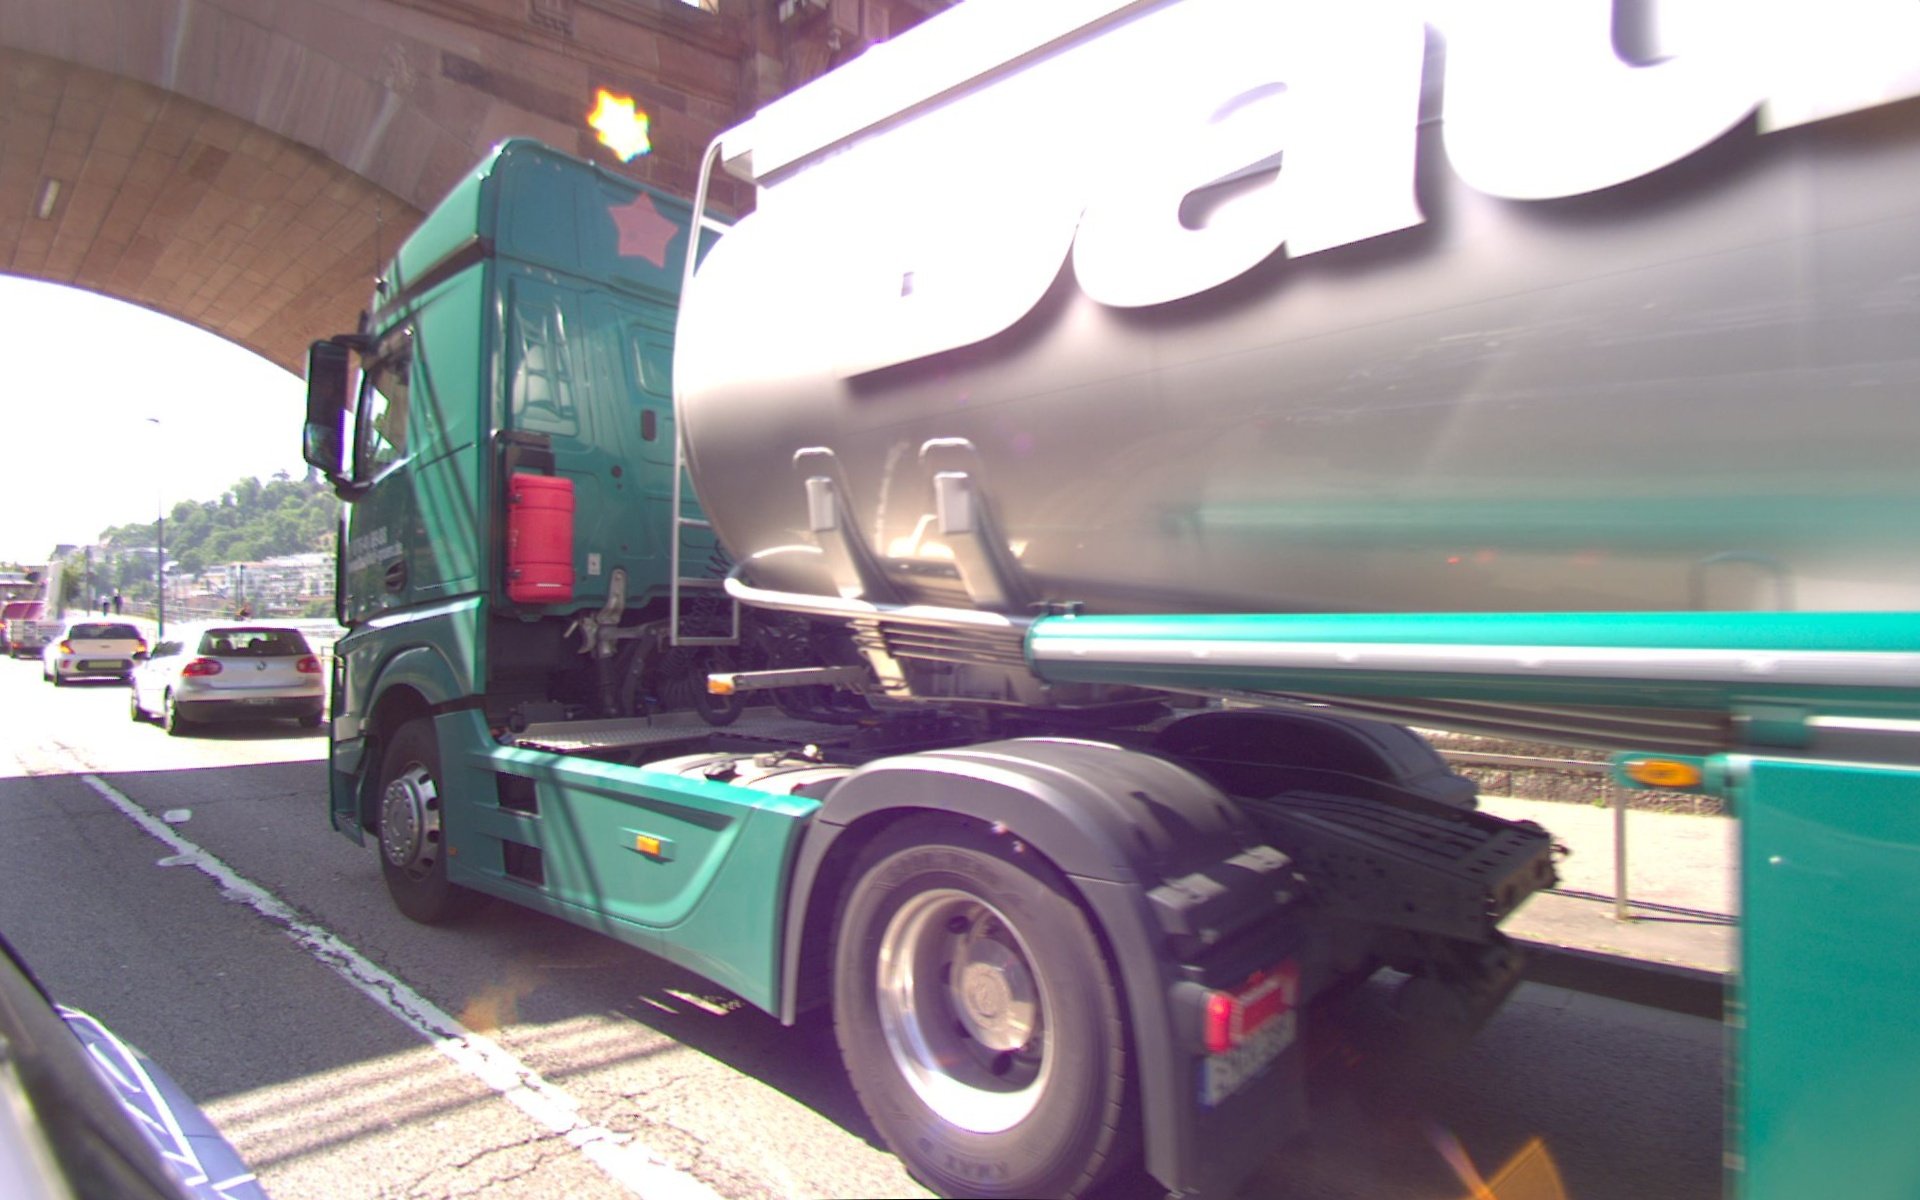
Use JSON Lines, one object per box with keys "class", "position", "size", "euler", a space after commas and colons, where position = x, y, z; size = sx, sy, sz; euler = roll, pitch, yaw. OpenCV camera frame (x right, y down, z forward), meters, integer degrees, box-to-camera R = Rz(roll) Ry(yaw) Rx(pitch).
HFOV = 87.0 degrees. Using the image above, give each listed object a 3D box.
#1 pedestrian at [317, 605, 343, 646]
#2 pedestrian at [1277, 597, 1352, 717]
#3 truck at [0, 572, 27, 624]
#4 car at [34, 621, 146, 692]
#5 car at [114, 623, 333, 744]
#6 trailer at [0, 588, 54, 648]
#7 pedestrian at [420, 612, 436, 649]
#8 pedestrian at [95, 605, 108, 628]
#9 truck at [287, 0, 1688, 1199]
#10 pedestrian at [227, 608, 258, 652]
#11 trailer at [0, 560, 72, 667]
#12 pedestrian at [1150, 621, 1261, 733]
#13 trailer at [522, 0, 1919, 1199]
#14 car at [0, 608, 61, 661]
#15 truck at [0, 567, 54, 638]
{"class": "pedestrian", "position": [-26.623, 1.080, 42.769], "size": [0.784, 1.704, 0.847], "euler": [0, 0, -44]}
{"class": "pedestrian", "position": [5.132, 0.801, 14.636], "size": [0.773, 1.663, 0.780], "euler": [-2, -1, 38]}
{"class": "truck", "position": [-67.479, -0.120, 71.195], "size": [2.610, 3.503, 11.119], "euler": [1, -1, -43]}
{"class": "car", "position": [-19.831, 1.236, 23.023], "size": [3.728, 1.447, 1.518], "euler": [0, -2, 43]}
{"class": "car", "position": [-10.591, 1.065, 14.428], "size": [4.400, 1.447, 1.704], "euler": [-1, -2, 43]}
{"class": "trailer", "position": [-43.658, 0.754, 46.539], "size": [2.666, 2.550, 6.953], "euler": [2, -1, -44]}
{"class": "pedestrian", "position": [-23.359, 1.323, 44.416], "size": [0.585, 1.613, 0.682], "euler": [0, 0, -31]}
{"class": "pedestrian", "position": [-64.805, 1.235, 76.422], "size": [0.703, 1.719, 0.846], "euler": [-1, 0, -42]}
{"class": "truck", "position": [-0.649, -0.323, 4.679], "size": [6.242, 3.777, 2.497], "euler": [-2, -3, 41]}
{"class": "pedestrian", "position": [-28.614, 1.167, 40.341], "size": [1.151, 1.714, 0.807], "euler": [0, 0, 44]}
{"class": "trailer", "position": [-30.924, 0.457, 33.663], "size": [3.385, 3.345, 1.722], "euler": [0, -2, 44]}
{"class": "pedestrian", "position": [2.915, 0.886, 12.018], "size": [1.024, 1.239, 0.780], "euler": [-2, -1, 38]}
{"class": "trailer", "position": [3.502, -0.407, 1.140], "size": [11.522, 3.672, 2.498], "euler": [-2, -2, 40]}
{"class": "car", "position": [-34.285, 1.232, 36.913], "size": [4.544, 1.841, 1.853], "euler": [-1, -2, 44]}
{"class": "truck", "position": [-49.440, 0.130, 52.963], "size": [2.611, 3.483, 7.877], "euler": [2, -1, -44]}
